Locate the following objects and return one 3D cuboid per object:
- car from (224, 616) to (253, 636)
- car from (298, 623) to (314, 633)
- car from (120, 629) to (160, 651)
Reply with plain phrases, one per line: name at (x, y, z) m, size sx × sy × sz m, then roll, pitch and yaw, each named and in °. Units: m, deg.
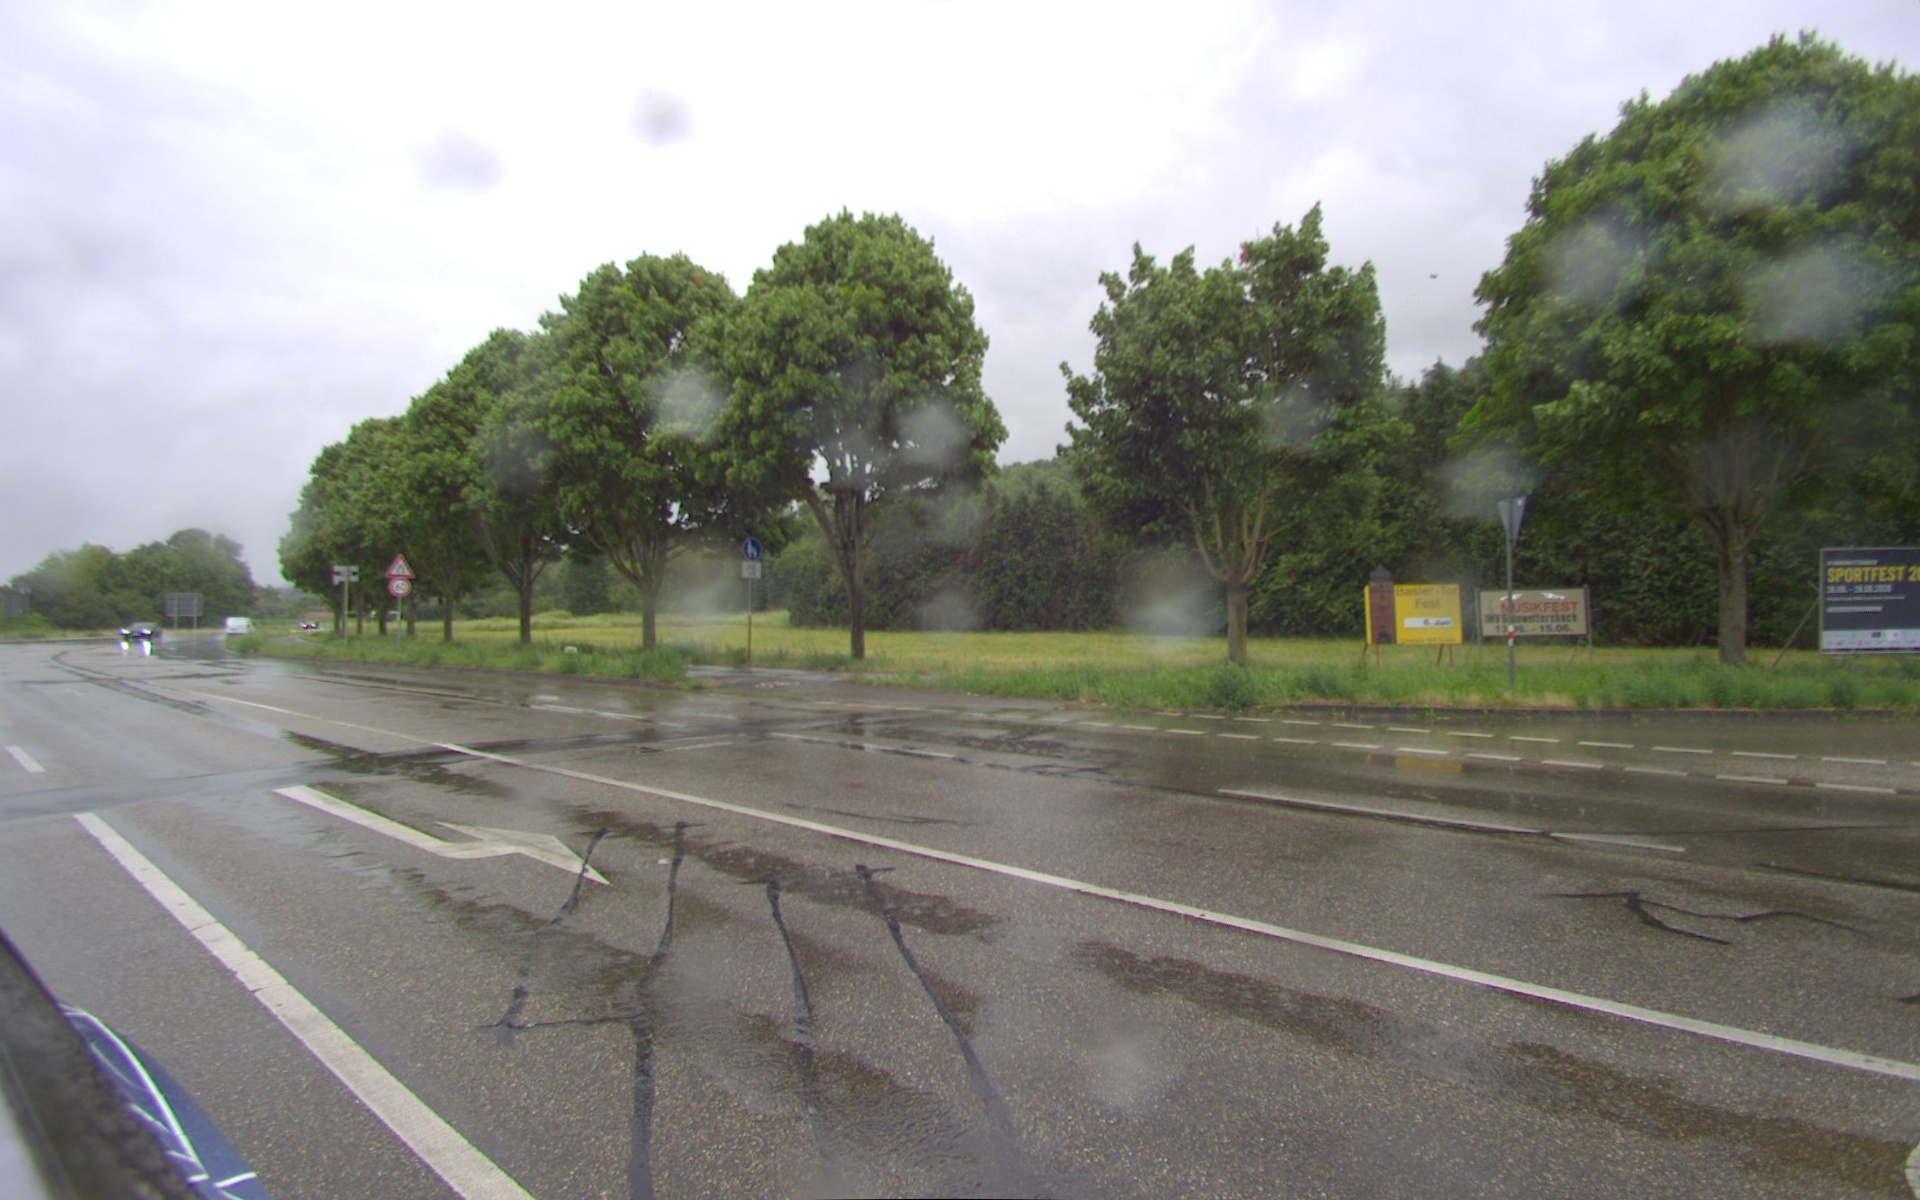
car at (-71.213, 2.586, 99.914) m, size 2.078 × 1.907 × 4.804 m, roll 0°, pitch -1°, yaw -33°
car at (-121.494, 5.246, 188.015) m, size 1.884 × 1.701 × 4.117 m, roll 0°, pitch 0°, yaw -25°
car at (-67.075, 3.251, 82.839) m, size 1.885 × 1.597 × 4.116 m, roll 0°, pitch -1°, yaw -30°
